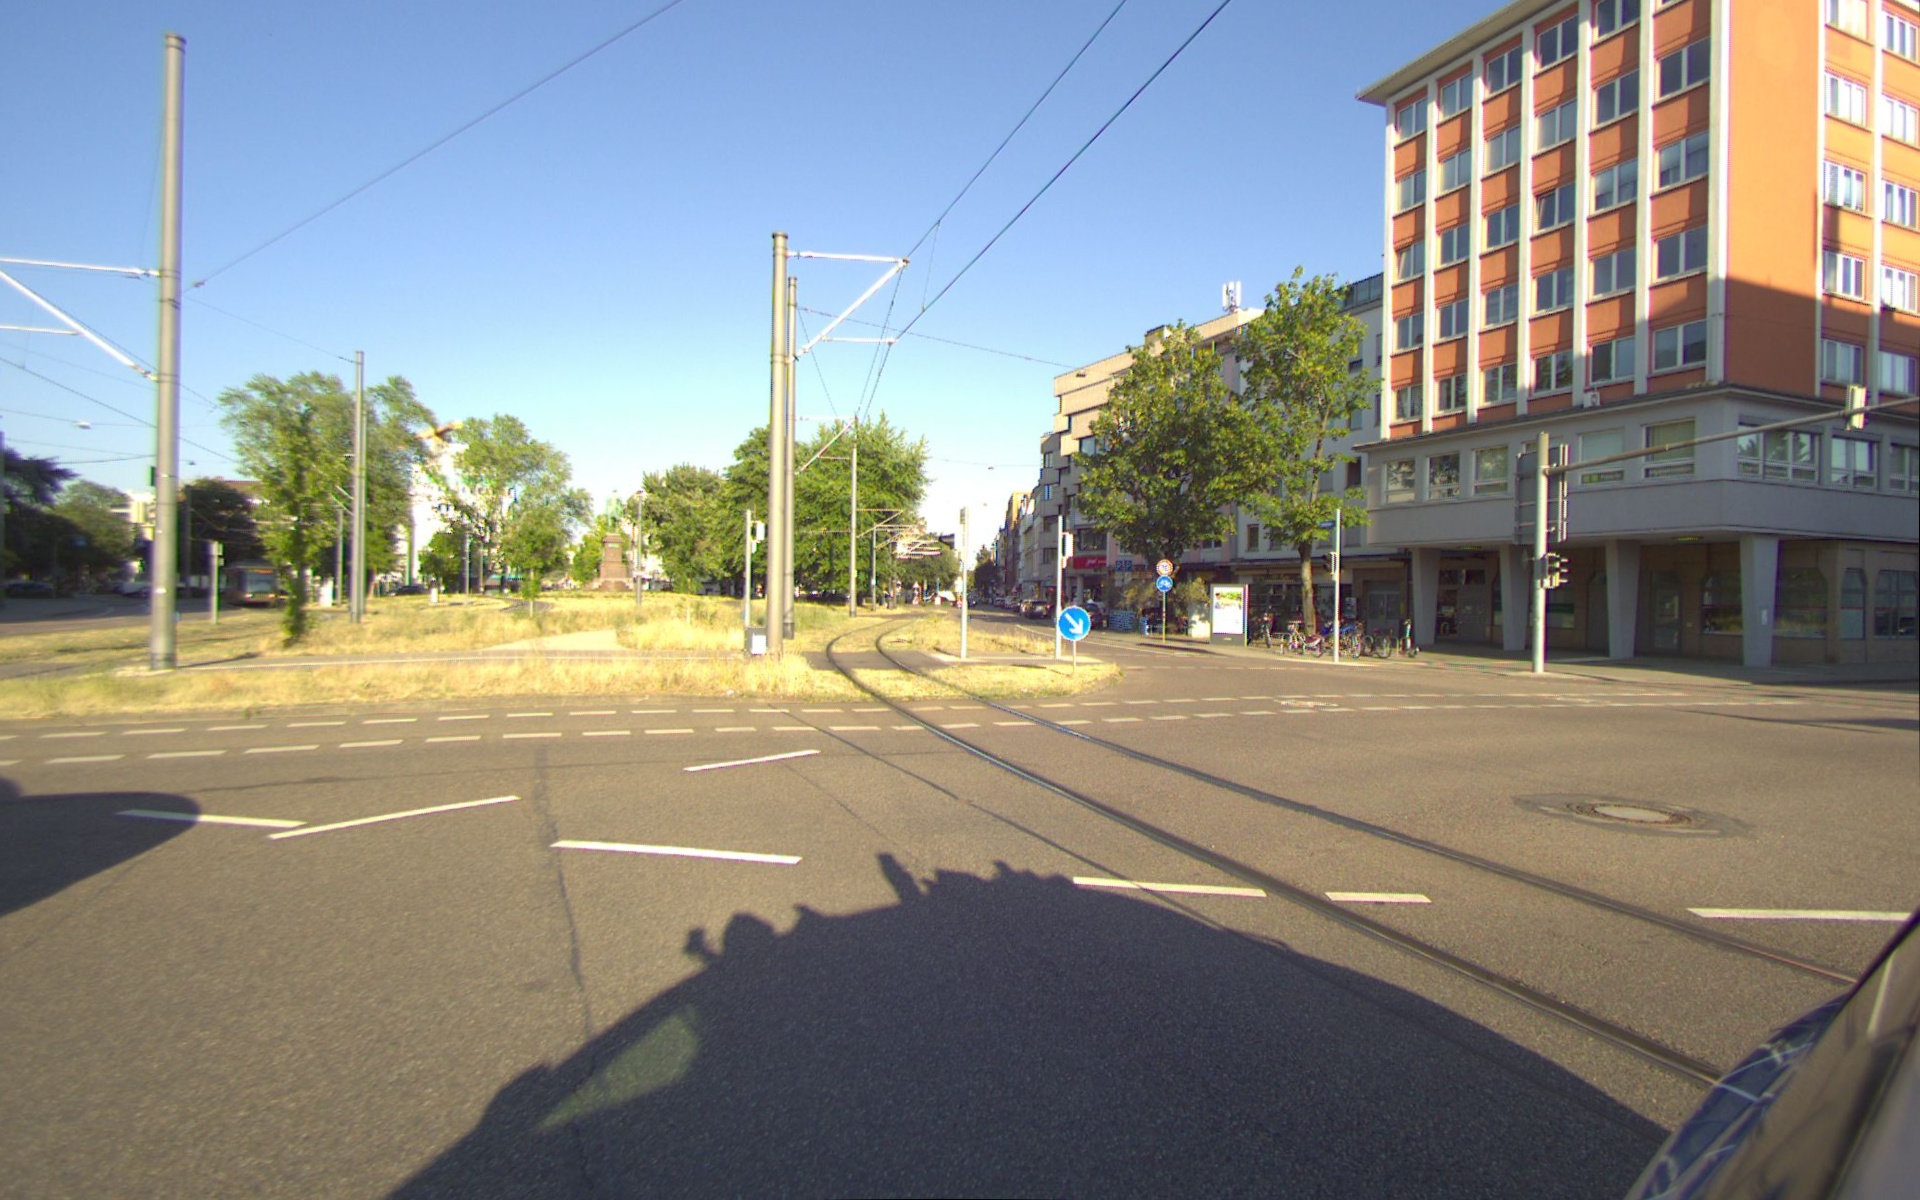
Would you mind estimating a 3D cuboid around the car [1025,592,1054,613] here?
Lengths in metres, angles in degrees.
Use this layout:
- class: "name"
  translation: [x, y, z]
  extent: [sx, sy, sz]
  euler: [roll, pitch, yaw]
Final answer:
- class: "car"
  translation: [6.373, 0.170, 81.754]
  extent: [1.926, 1.576, 3.875]
  euler: [1, 0, -2]

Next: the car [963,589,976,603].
- class: "car"
  translation: [1.233, -0.578, 134.868]
  extent: [1.618, 1.836, 3.490]
  euler: [1, 0, -2]

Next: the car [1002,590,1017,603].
- class: "car"
  translation: [6.600, -0.448, 134.928]
  extent: [1.737, 1.723, 3.581]
  euler: [1, 0, -2]

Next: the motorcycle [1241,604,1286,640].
- class: "motorcycle"
  translation: [11.579, 0.821, 38.657]
  extent: [0.872, 1.324, 2.060]
  euler: [0, 1, -7]

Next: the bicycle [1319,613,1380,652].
- class: "bicycle"
  translation: [12.766, 1.056, 33.250]
  extent: [0.581, 1.128, 2.011]
  euler: [1, 2, -24]

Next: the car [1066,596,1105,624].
- class: "car"
  translation: [6.979, 0.525, 56.527]
  extent: [1.609, 1.446, 3.637]
  euler: [1, 1, -2]

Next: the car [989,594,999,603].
- class: "car"
  translation: [5.877, -0.283, 174.537]
  extent: [1.467, 1.391, 3.426]
  euler: [1, 0, -2]

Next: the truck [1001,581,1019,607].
- class: "truck"
  translation: [6.331, -0.781, 127.808]
  extent: [1.706, 3.260, 6.410]
  euler: [1, 0, -2]

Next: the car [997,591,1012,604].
- class: "car"
  translation: [6.198, -0.393, 141.443]
  extent: [1.737, 1.723, 3.581]
  euler: [1, 0, -2]

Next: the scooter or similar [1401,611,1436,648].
- class: "scooter or similar"
  translation: [16.600, 1.051, 36.662]
  extent: [0.475, 1.251, 1.563]
  euler: [1, 2, -3]

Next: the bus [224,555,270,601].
- class: "bus"
  translation: [-54.402, -1.630, 77.126]
  extent: [2.366, 3.250, 11.110]
  euler: [0, 1, -38]

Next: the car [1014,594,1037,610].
- class: "car"
  translation: [6.010, 0.137, 93.083]
  extent: [1.707, 1.401, 3.392]
  euler: [1, 0, -2]

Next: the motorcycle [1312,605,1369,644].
- class: "motorcycle"
  translation: [14.044, 0.878, 37.312]
  extent: [2.223, 1.410, 0.844]
  euler: [1, -1, -35]

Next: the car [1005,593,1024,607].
- class: "car"
  translation: [5.678, -0.008, 106.475]
  extent: [1.706, 1.401, 3.625]
  euler: [1, 1, -2]

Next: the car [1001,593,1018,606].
- class: "car"
  translation: [5.910, -0.087, 120.054]
  extent: [1.706, 1.401, 3.625]
  euler: [1, 1, -2]

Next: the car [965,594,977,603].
- class: "car"
  translation: [1.680, -0.299, 158.932]
  extent: [1.645, 1.341, 3.778]
  euler: [1, 1, -2]

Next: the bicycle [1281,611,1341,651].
- class: "bicycle"
  translation: [11.283, 0.977, 32.602]
  extent: [0.581, 1.129, 1.982]
  euler: [1, 2, -25]

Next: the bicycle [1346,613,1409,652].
- class: "bicycle"
  translation: [13.896, 1.065, 33.760]
  extent: [0.581, 1.128, 2.066]
  euler: [1, 2, -25]

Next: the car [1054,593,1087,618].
- class: "car"
  translation: [7.251, 0.362, 66.719]
  extent: [1.609, 1.566, 3.637]
  euler: [1, 0, -2]
